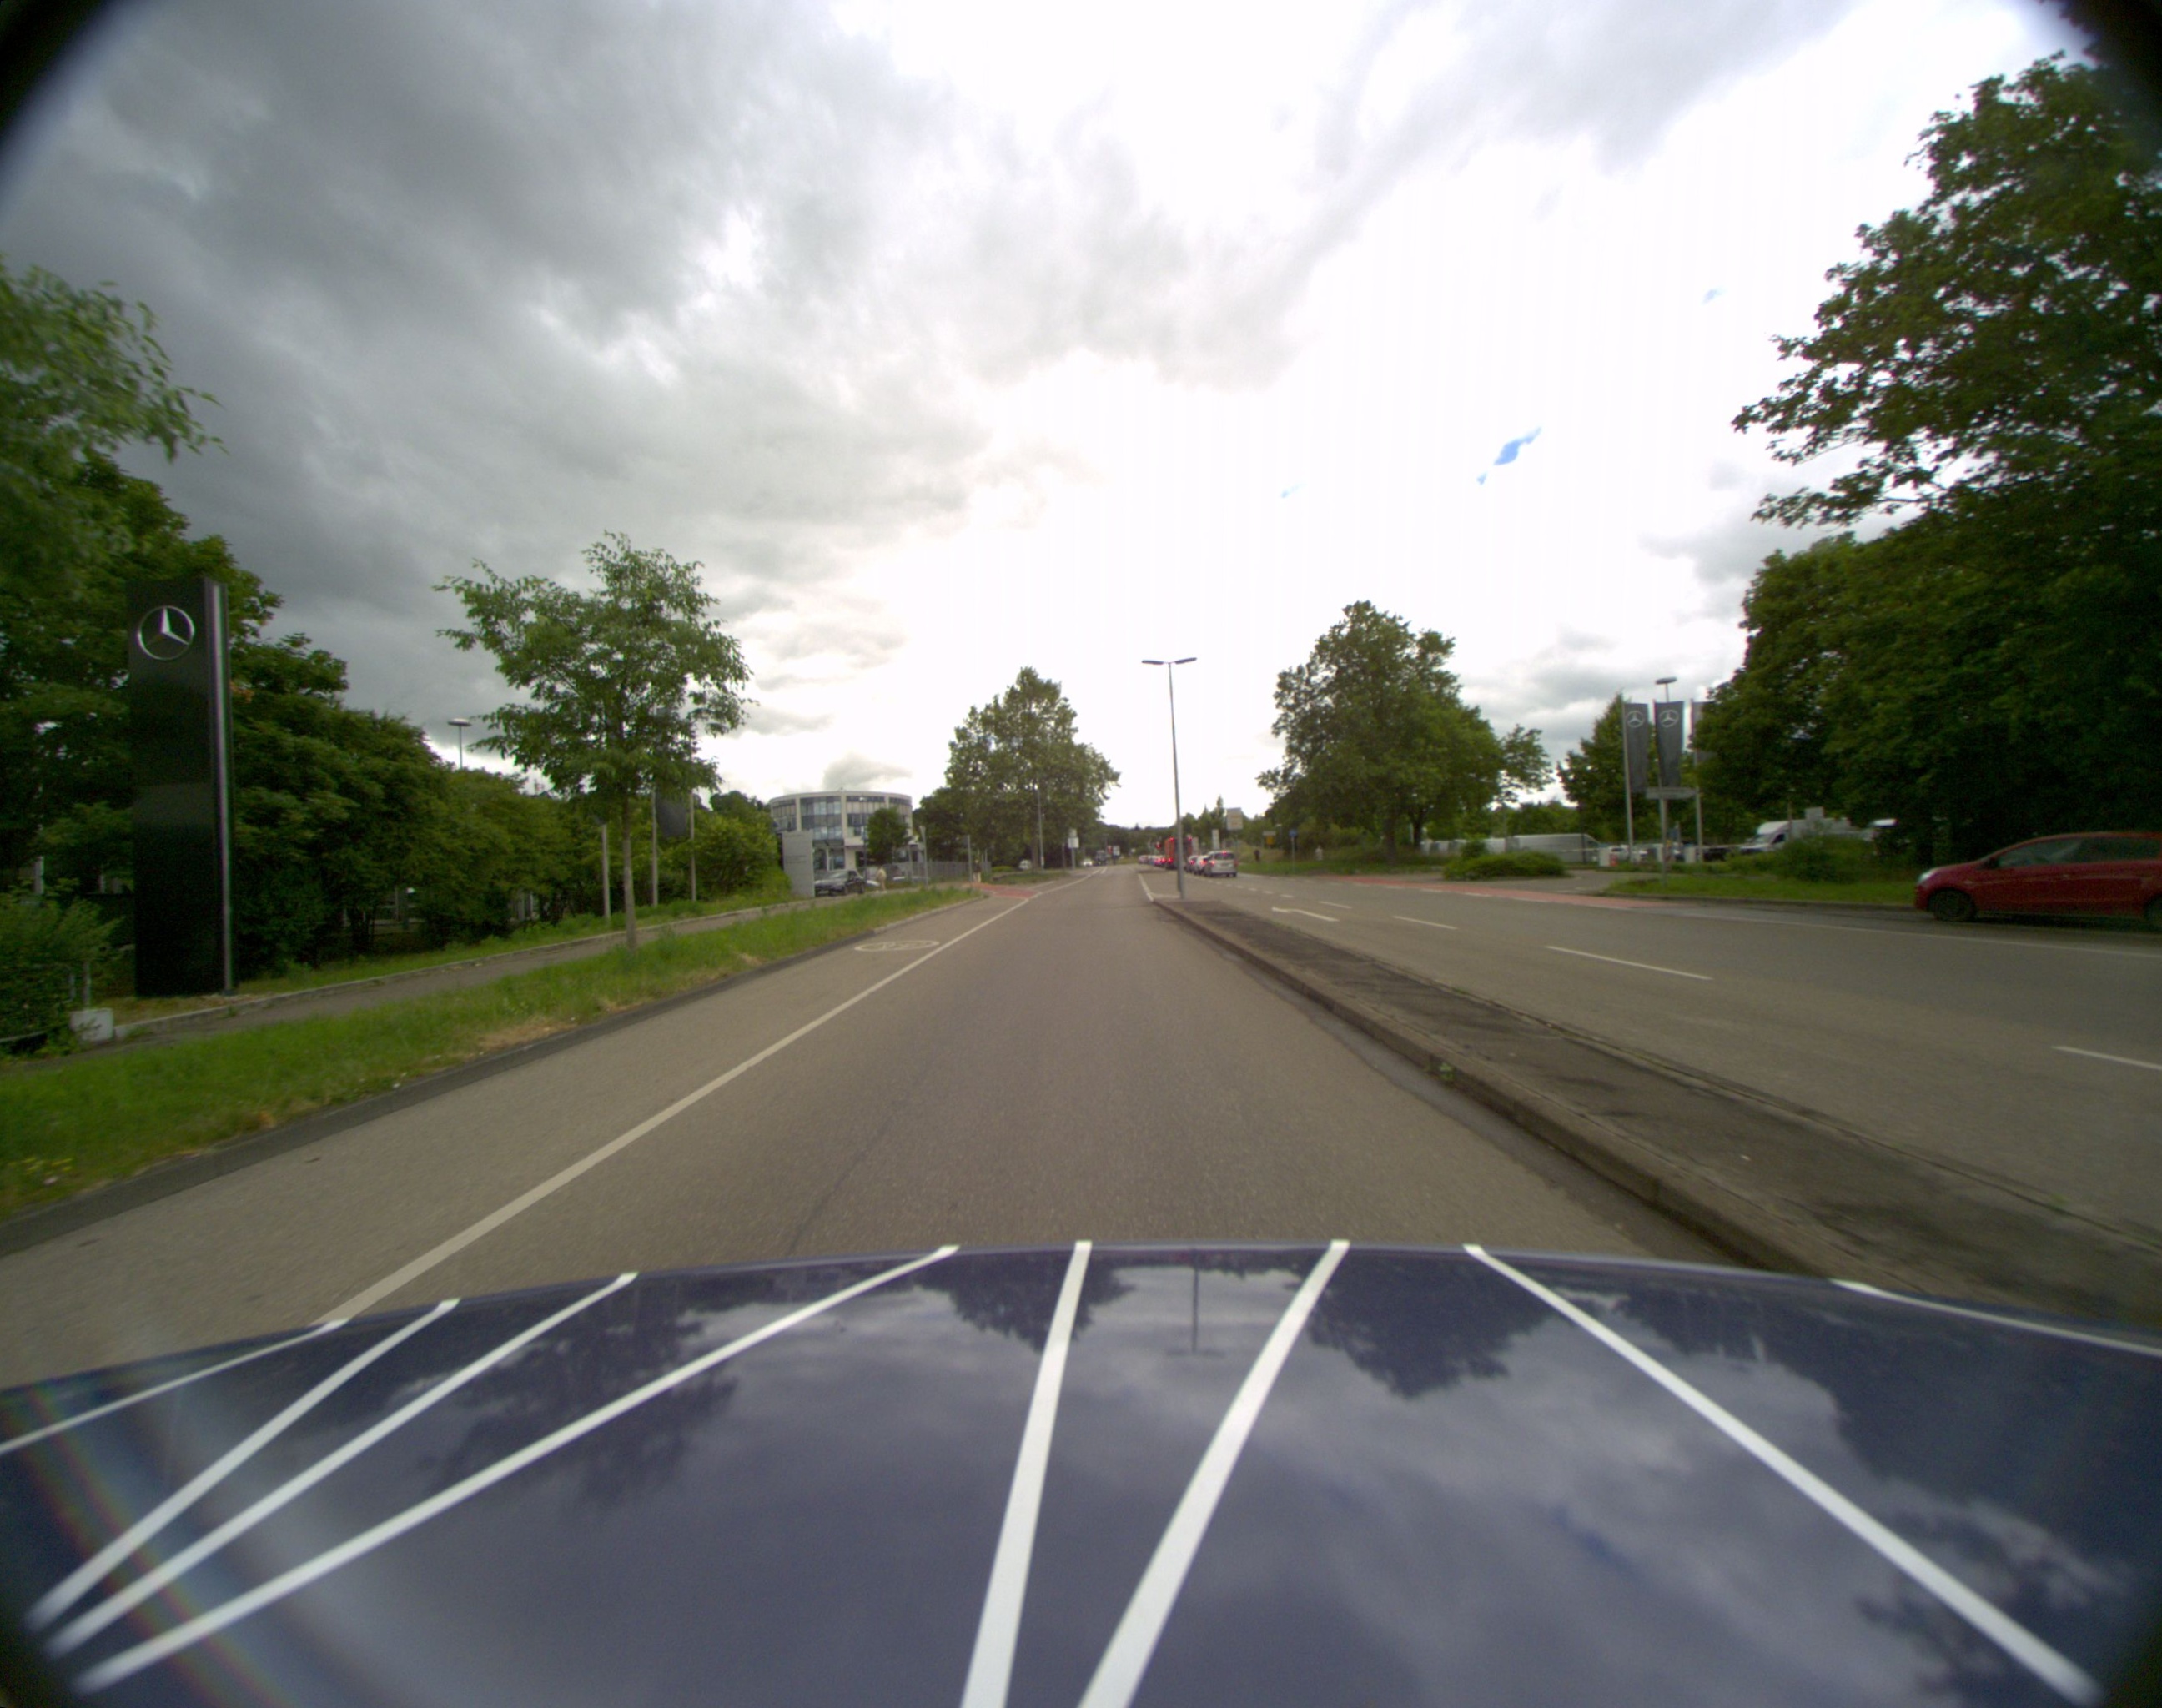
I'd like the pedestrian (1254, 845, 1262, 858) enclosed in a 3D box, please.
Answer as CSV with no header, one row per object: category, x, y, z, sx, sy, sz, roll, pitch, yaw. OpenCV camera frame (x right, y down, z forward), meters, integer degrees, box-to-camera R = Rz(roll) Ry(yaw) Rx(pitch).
pedestrian,19.677,-0.273,84.457,0.757,1.439,0.639,-3,1,0

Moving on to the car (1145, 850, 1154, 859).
car,12.949,0.037,143.544,1.591,1.608,3.584,-2,0,4

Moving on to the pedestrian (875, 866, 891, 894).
pedestrian,-11.334,1.466,43.445,0.813,1.558,0.942,-1,2,-16

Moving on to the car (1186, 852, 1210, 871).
car,10.308,0.624,67.124,1.639,1.553,3.351,-2,0,1

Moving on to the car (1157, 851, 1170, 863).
car,11.643,0.475,107.209,1.591,1.608,3.584,-2,0,4

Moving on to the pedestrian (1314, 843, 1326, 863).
pedestrian,21.070,-0.103,66.920,0.757,1.727,0.638,-3,1,-8

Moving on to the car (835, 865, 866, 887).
car,-25.062,2.363,82.495,2.119,2.261,4.474,-2,-1,-32

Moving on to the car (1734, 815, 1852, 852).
car,54.007,-1.556,57.720,6.956,2.399,2.000,-3,1,1

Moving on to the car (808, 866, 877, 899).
car,-12.350,1.448,39.727,1.851,1.408,4.981,-4,0,1

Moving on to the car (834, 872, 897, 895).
car,-16.258,2.241,57.390,3.996,1.310,2.001,-6,-1,4

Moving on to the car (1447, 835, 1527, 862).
car,31.454,-0.436,58.954,5.297,2.002,1.739,-1,1,1

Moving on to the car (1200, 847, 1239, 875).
car,9.612,0.466,53.014,1.833,1.759,4.406,-3,0,0

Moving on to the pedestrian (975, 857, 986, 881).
pedestrian,-7.352,1.116,55.748,0.734,1.717,0.501,-1,1,-3

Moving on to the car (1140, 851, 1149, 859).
car,12.461,0.157,149.025,1.591,1.608,3.584,-2,0,4

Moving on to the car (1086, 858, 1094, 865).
car,2.175,1.816,184.347,1.592,1.480,3.583,-2,0,0

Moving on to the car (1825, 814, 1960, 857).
car,53.337,-1.232,50.013,6.958,2.399,1.999,-3,1,-3

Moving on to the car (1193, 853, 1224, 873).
car,9.852,0.678,59.034,1.733,1.477,4.123,-1,0,1

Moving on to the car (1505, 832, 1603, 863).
car,31.499,-0.430,50.692,5.298,2.002,2.011,-1,1,-1

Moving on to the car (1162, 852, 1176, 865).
car,11.400,0.519,98.654,1.591,1.608,3.352,-2,0,4

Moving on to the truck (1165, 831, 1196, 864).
truck,10.888,-0.709,83.811,2.831,3.460,7.825,-2,0,4

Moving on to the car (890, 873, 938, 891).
car,-16.403,2.745,74.620,4.188,1.439,1.819,-5,-1,-1

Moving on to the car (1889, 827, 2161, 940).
car,15.631,0.392,11.768,1.881,1.498,3.886,-3,0,-6

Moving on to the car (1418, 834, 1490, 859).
car,31.568,-0.648,64.357,5.298,2.002,1.739,-1,1,-1

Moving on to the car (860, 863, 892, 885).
car,-22.425,2.204,83.124,2.119,2.261,4.474,-2,-1,-32

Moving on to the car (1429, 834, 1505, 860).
car,31.483,-0.553,62.048,5.298,2.002,1.739,-1,1,-1

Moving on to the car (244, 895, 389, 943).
car,-24.806,2.067,24.784,1.598,1.288,3.078,-3,-1,-1
